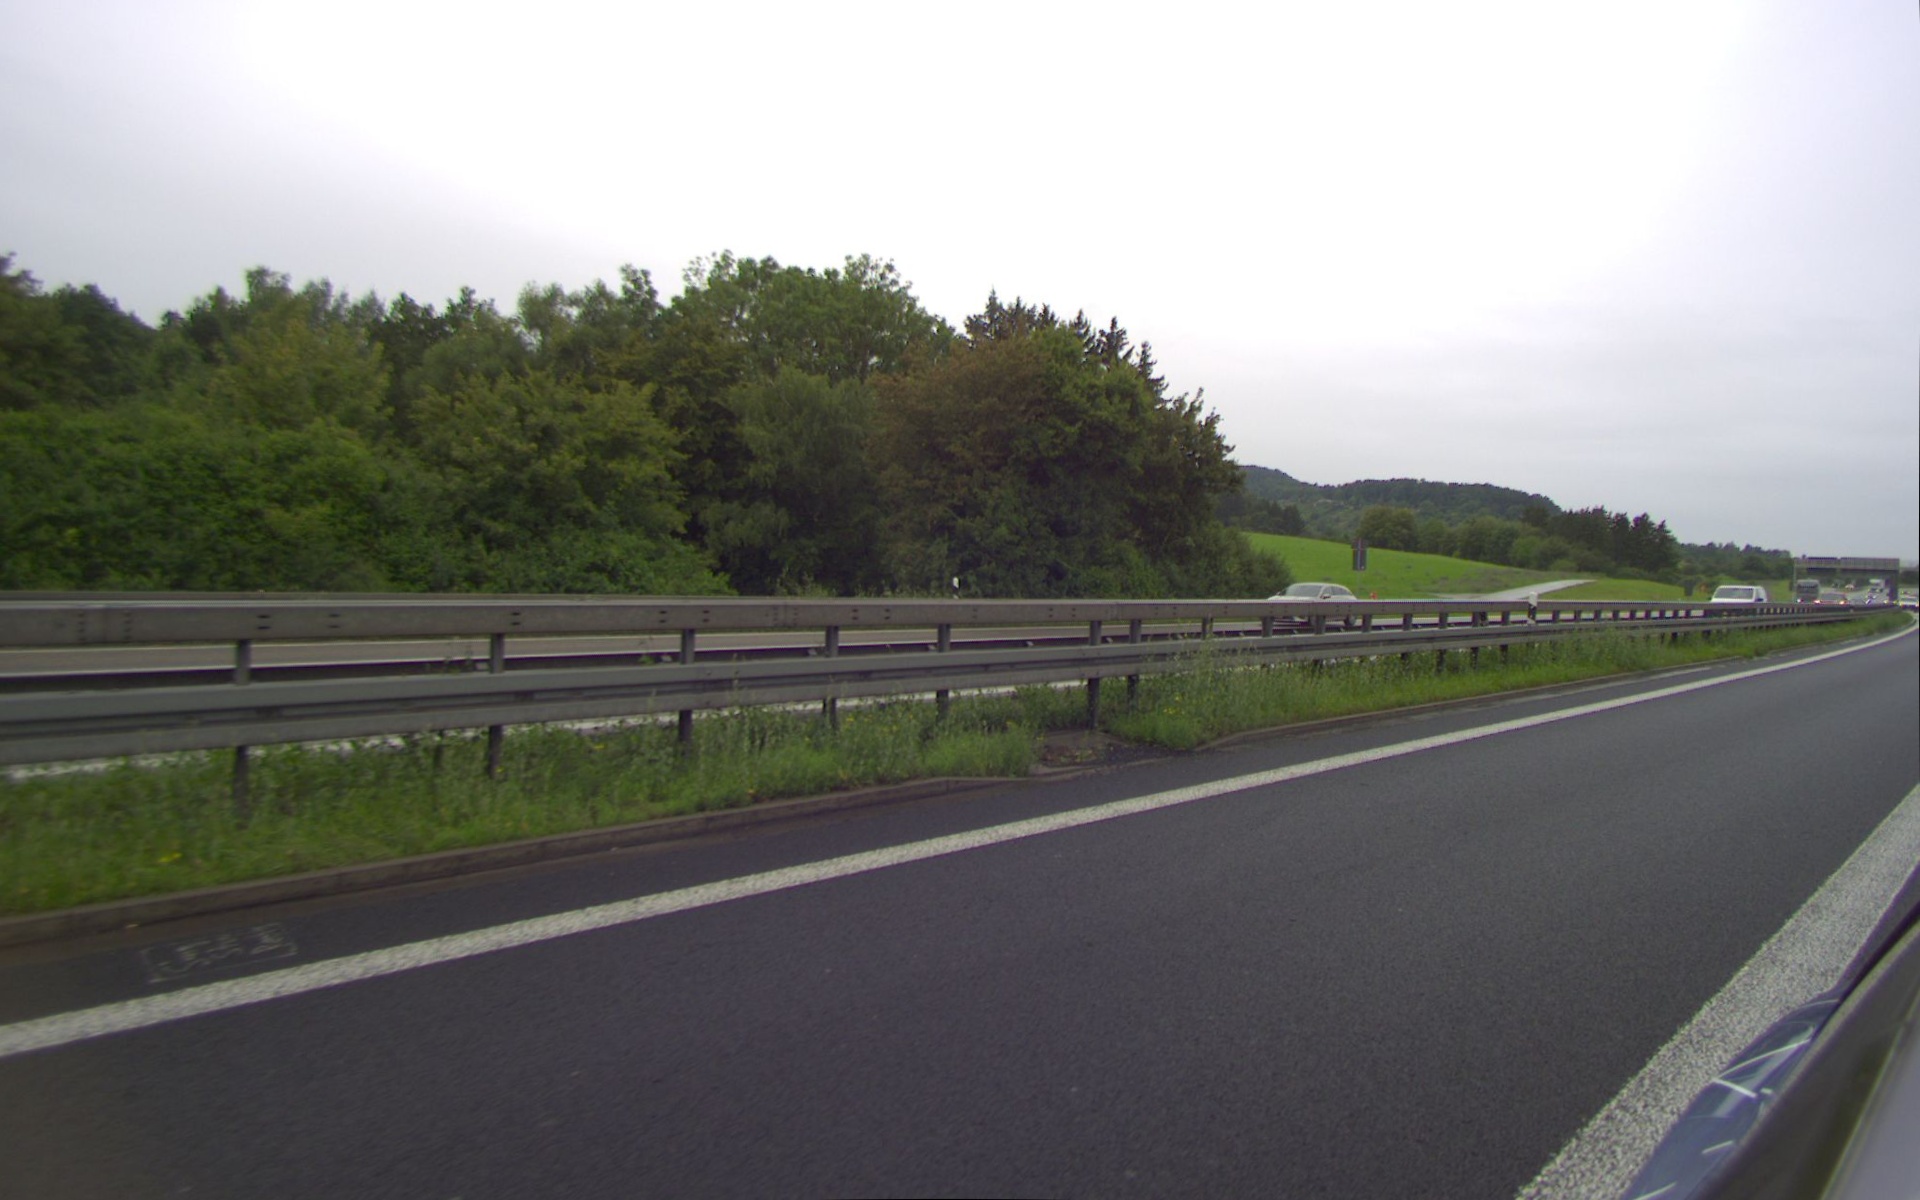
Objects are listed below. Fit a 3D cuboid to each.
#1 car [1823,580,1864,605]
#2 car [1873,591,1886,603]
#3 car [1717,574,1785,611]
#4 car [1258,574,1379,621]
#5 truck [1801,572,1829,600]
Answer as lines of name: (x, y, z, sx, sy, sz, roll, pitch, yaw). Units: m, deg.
car: (74.471, -0.621, 85.268, 4.993, 2.039, 2.126, 0, 1, -44)
car: (168.405, -0.533, 185.372, 1.747, 2.039, 4.428, 1, 1, 43)
car: (39.028, -0.374, 49.910, 4.639, 1.714, 1.911, 0, 1, -43)
car: (12.076, -0.124, 33.941, 4.631, 1.473, 1.901, 0, 1, -43)
truck: (123.222, -1.999, 145.866, 2.787, 3.949, 9.887, 1, 1, 39)
